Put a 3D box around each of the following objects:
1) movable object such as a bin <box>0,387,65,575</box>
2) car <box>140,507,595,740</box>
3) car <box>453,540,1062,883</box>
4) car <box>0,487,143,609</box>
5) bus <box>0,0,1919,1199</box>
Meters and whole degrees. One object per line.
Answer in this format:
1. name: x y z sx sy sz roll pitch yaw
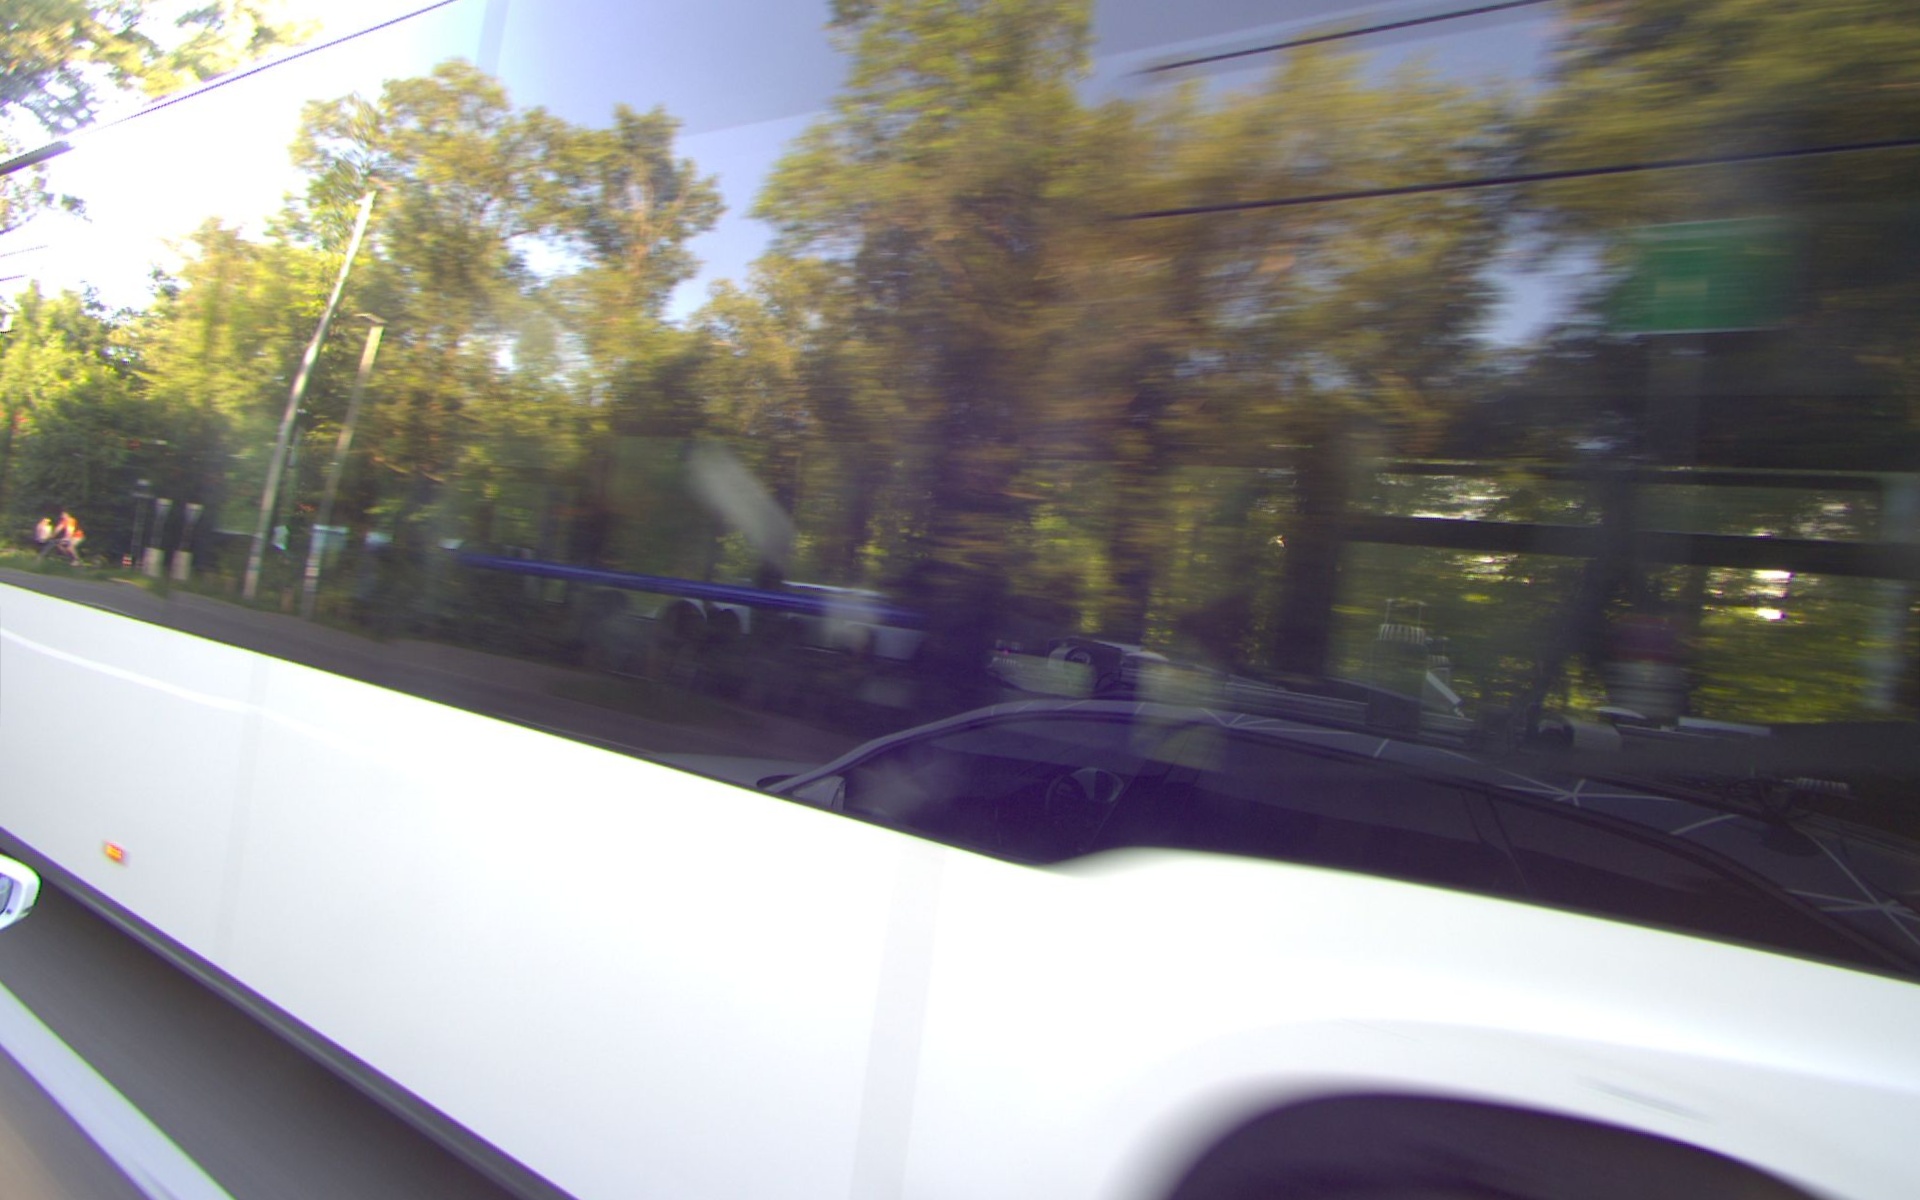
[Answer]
1. movable object such as a bin: -21.440 -2.682 20.160 7.470 3.412 2.763 7 0 30
2. car: -5.860 0.151 9.814 4.384 1.593 1.841 7 0 31
3. car: -1.534 0.602 7.184 4.021 1.561 1.730 7 0 31
4. car: -14.796 -0.924 15.750 4.021 1.593 1.730 7 -1 31
5. bus: -1.138 -0.130 3.628 12.075 3.260 2.709 7 -1 32
